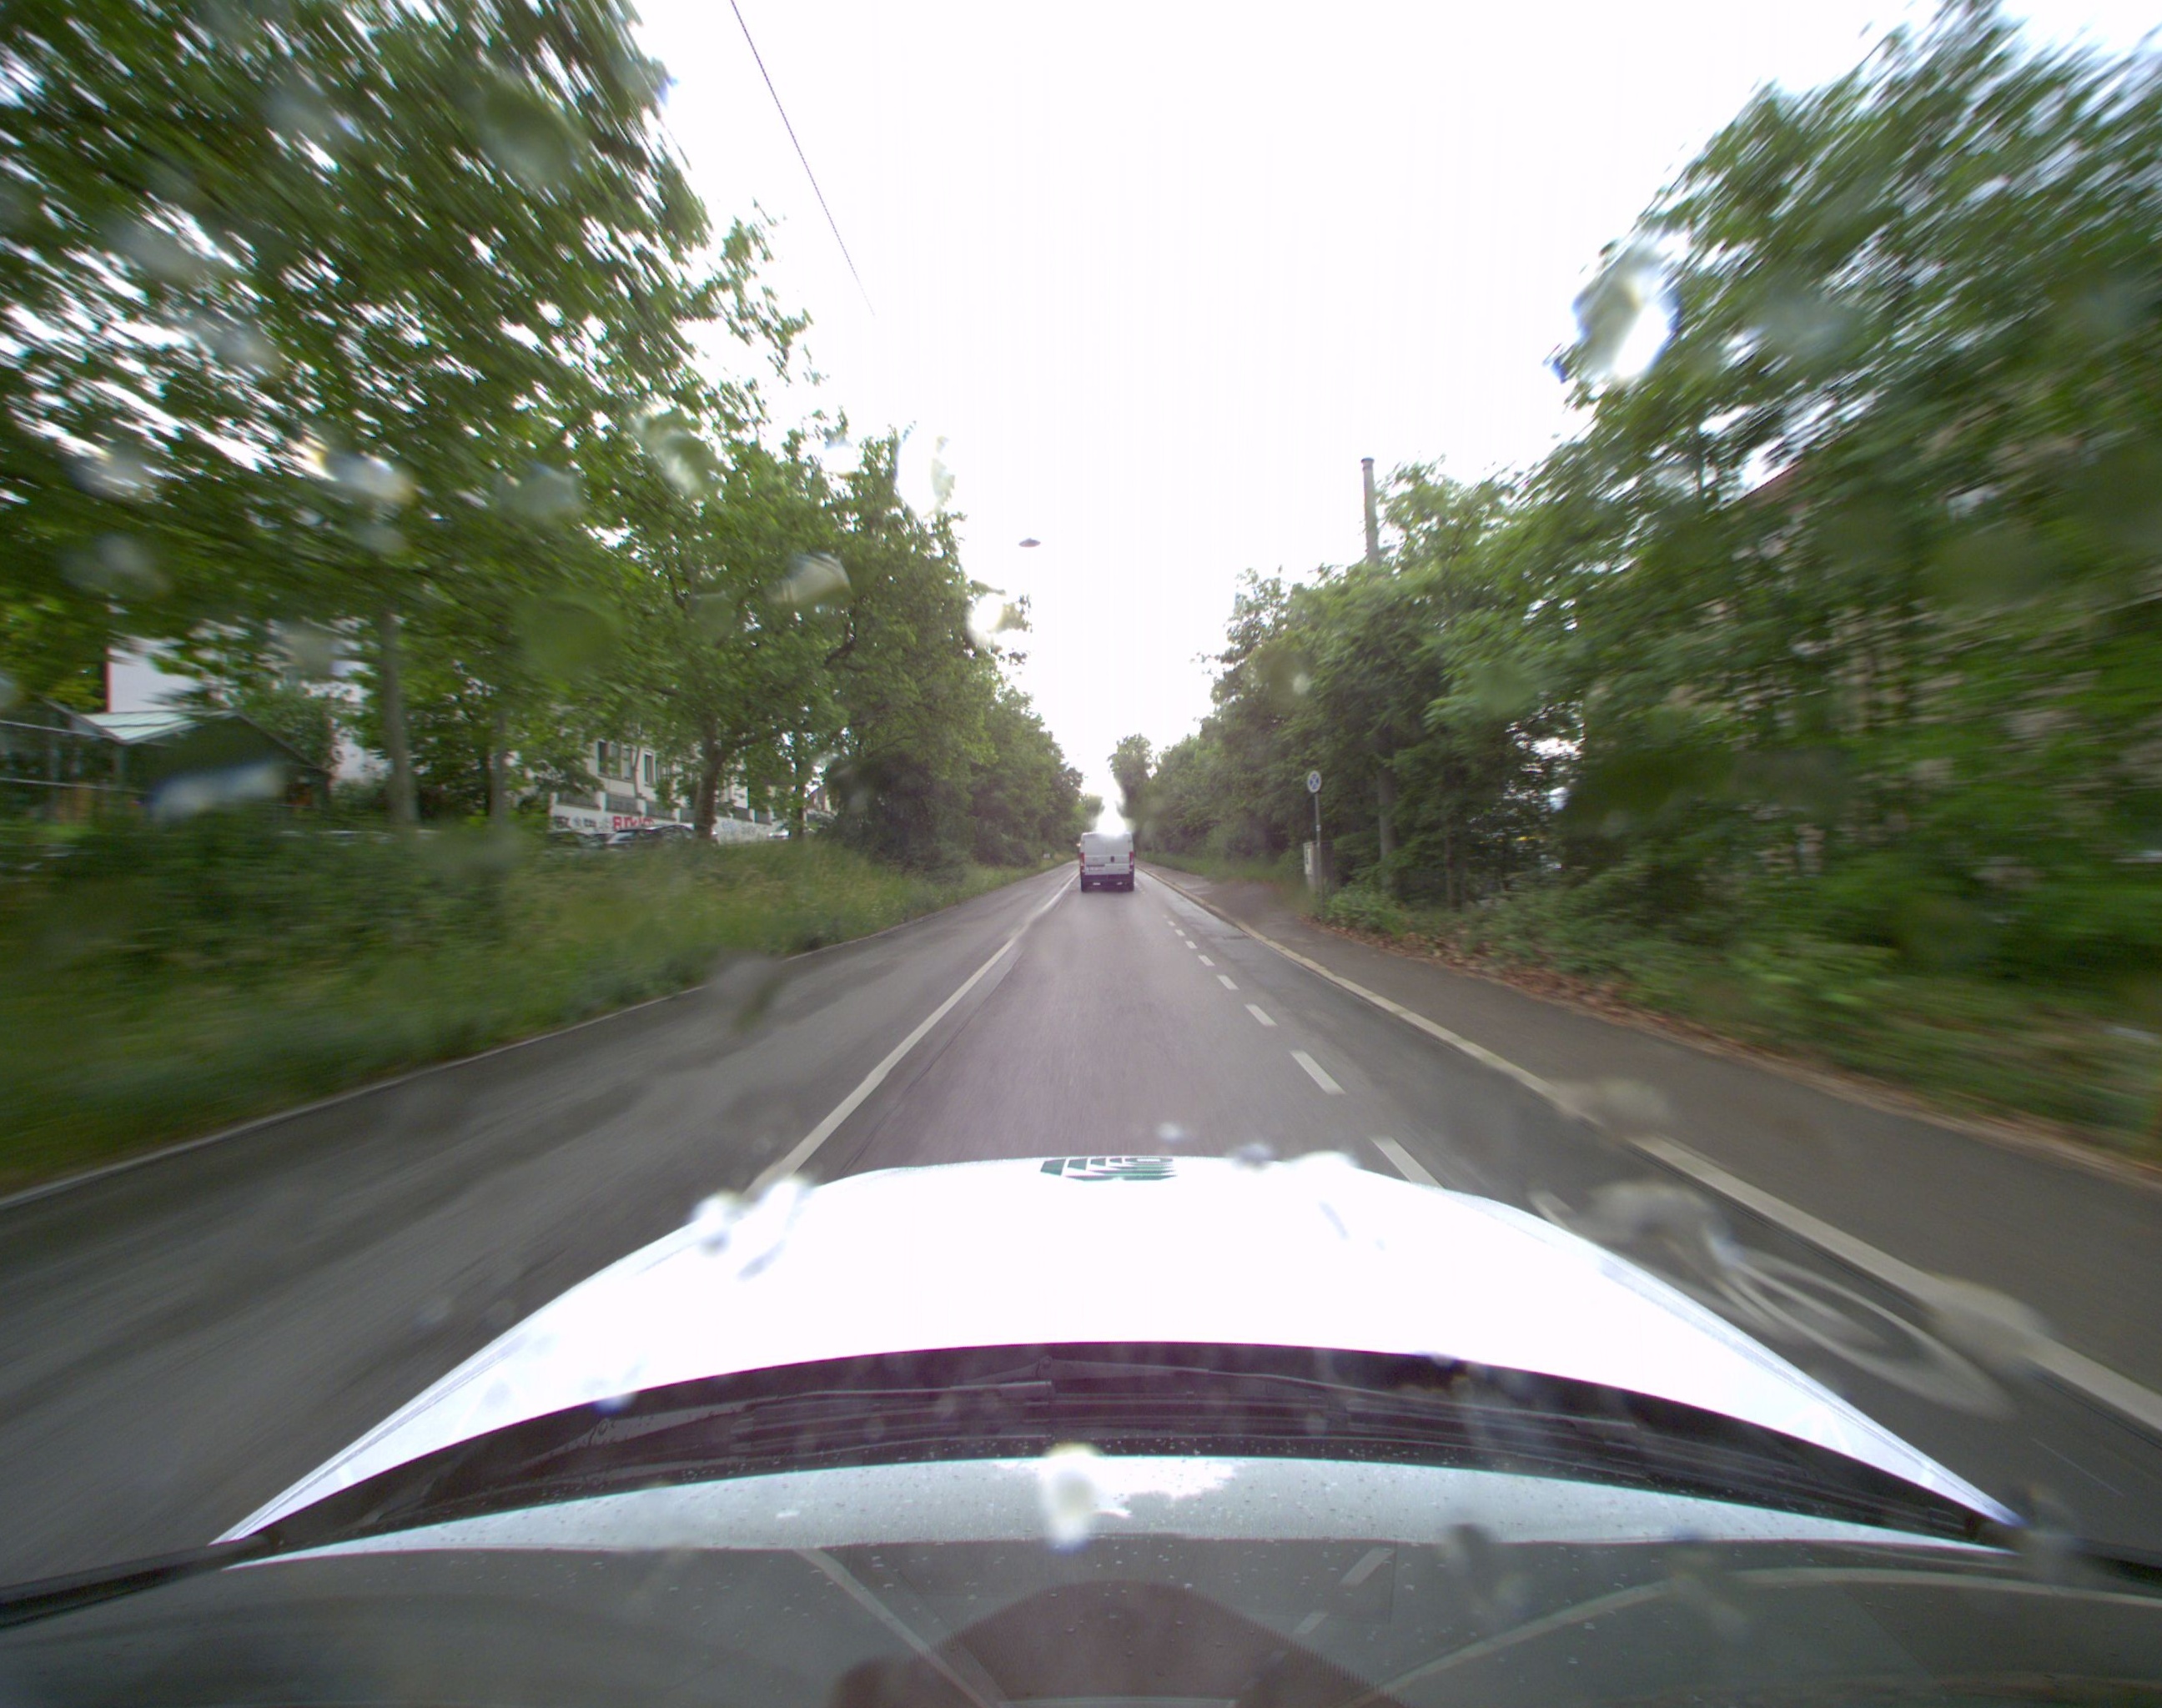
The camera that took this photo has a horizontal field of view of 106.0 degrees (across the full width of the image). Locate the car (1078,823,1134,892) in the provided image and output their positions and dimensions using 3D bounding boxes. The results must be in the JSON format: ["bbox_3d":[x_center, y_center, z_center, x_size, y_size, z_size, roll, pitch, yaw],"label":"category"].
[{"bbox_3d":[0.996,0.101,32.368,2.042,2.516,4.946,0,1,2],"label":"car"}]

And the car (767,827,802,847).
[{"bbox_3d":[-18.790,-1.055,51.689,1.209,1.133,2.453,-3,-2,1],"label":"car"}]

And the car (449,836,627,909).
[{"bbox_3d":[-12.075,0.428,18.392,1.698,1.404,3.443,-3,-2,-1],"label":"car"}]
